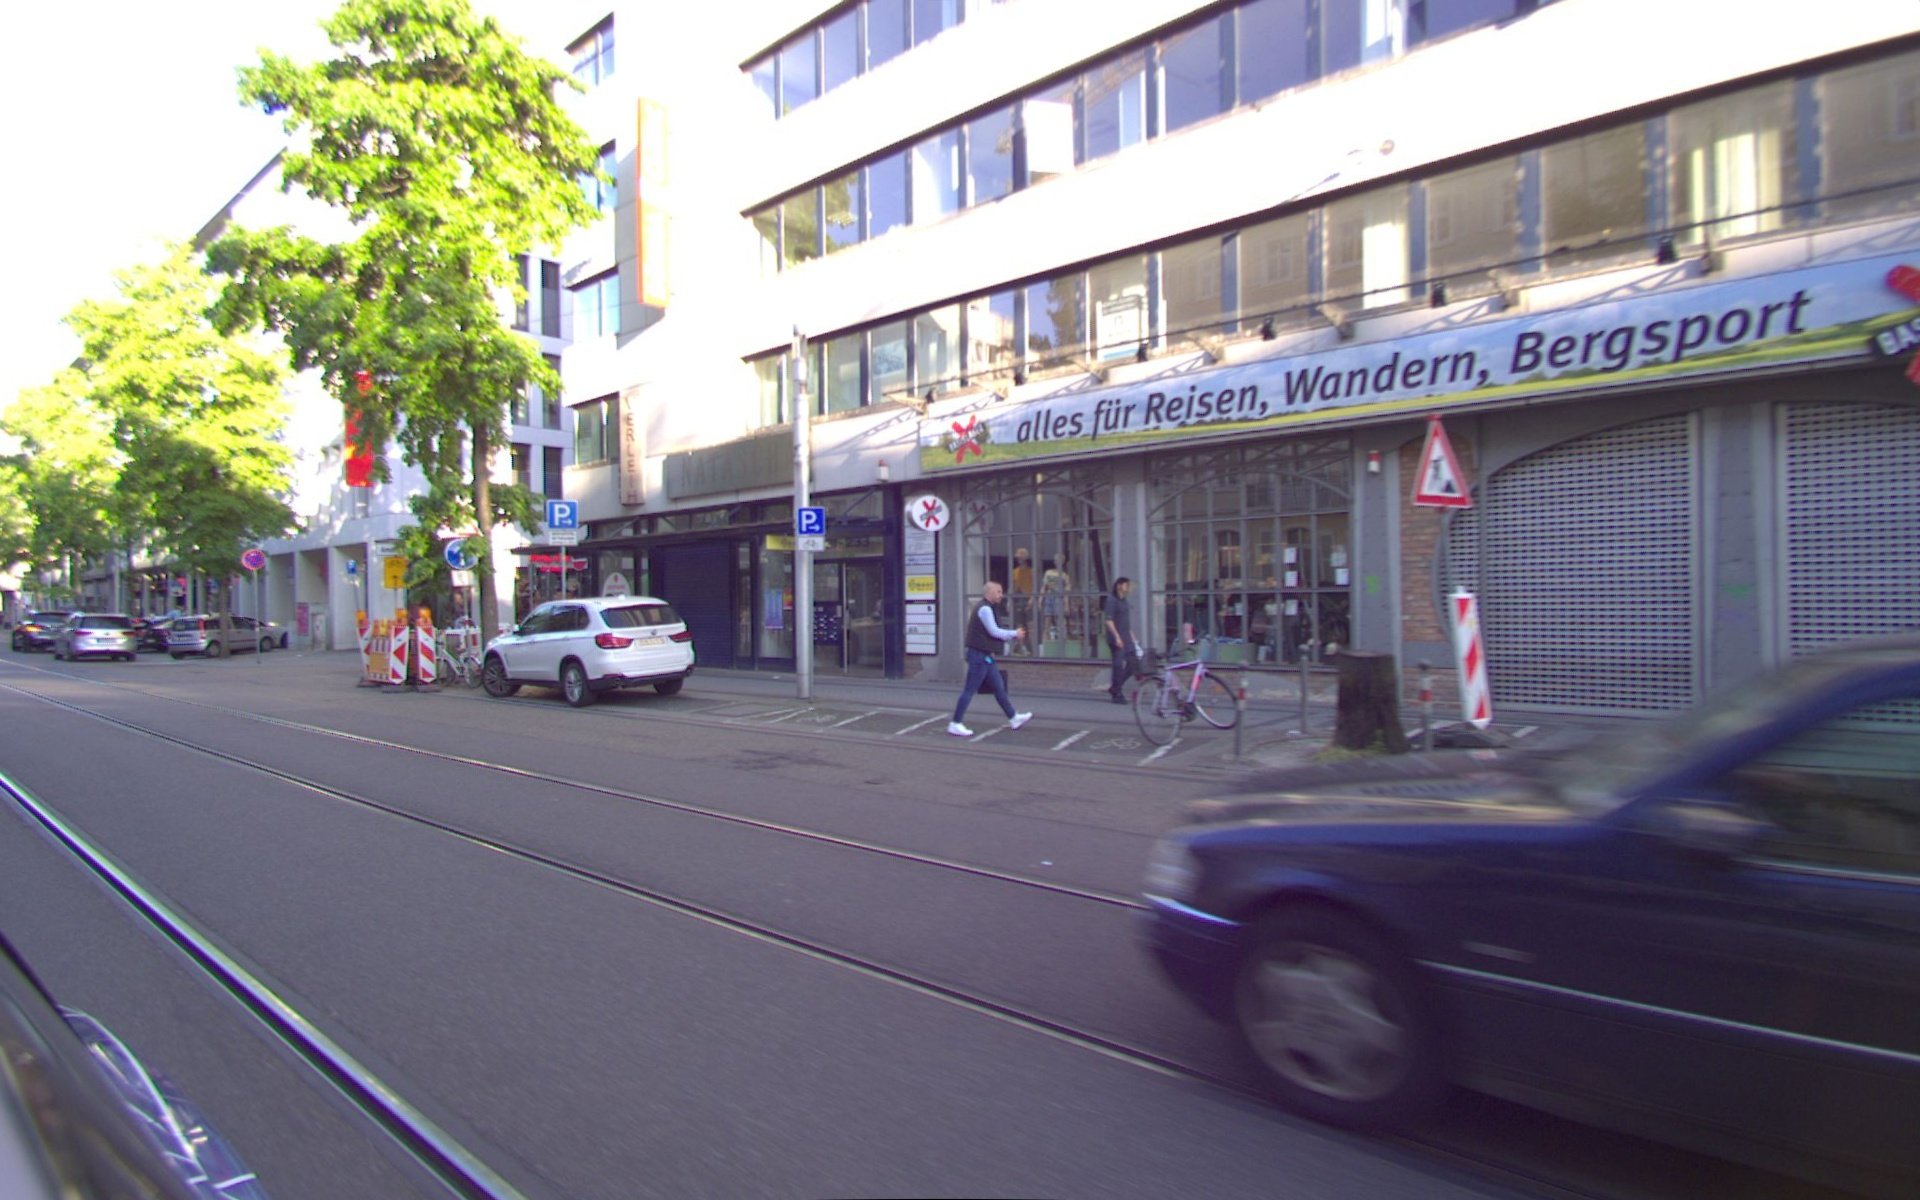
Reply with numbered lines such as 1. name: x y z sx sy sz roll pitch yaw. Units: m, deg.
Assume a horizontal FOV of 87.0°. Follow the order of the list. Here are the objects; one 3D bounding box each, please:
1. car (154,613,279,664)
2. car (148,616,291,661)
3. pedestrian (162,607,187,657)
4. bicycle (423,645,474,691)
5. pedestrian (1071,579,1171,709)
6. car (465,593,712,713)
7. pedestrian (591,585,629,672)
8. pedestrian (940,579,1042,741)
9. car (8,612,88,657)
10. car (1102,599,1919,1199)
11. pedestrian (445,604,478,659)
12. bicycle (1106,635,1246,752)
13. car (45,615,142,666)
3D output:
1. car: -27.071 1.376 36.998 1.769 1.572 3.392 -1 2 9
2. car: -28.750 1.453 39.438 1.568 1.423 4.286 -1 2 22
3. pedestrian: -30.906 1.262 39.821 0.723 1.948 0.647 -2 -1 43
4. bicycle: -10.480 1.372 20.707 0.496 0.843 1.536 -4 2 -43
5. pedestrian: 2.242 0.591 14.096 1.037 1.708 0.824 -1 2 41
6. car: -6.640 0.852 17.825 4.741 1.767 1.973 -1 1 41
7. pedestrian: -8.300 0.674 24.010 0.592 2.029 0.608 -2 -1 39
8. pedestrian: 0.363 0.668 11.753 0.851 1.779 0.822 -1 -1 35
9. car: -38.787 1.443 43.034 4.198 1.820 2.013 -1 -2 41
10. car: 2.730 0.703 2.405 4.526 1.418 1.760 -1 -1 41
11. pedestrian: -15.397 0.965 31.256 0.611 1.658 0.716 -2 -1 43
12. bicycle: 2.304 0.937 10.645 1.724 0.999 0.479 -5 2 -42
13. car: -29.611 1.370 34.553 4.198 1.624 1.865 -1 -3 41
